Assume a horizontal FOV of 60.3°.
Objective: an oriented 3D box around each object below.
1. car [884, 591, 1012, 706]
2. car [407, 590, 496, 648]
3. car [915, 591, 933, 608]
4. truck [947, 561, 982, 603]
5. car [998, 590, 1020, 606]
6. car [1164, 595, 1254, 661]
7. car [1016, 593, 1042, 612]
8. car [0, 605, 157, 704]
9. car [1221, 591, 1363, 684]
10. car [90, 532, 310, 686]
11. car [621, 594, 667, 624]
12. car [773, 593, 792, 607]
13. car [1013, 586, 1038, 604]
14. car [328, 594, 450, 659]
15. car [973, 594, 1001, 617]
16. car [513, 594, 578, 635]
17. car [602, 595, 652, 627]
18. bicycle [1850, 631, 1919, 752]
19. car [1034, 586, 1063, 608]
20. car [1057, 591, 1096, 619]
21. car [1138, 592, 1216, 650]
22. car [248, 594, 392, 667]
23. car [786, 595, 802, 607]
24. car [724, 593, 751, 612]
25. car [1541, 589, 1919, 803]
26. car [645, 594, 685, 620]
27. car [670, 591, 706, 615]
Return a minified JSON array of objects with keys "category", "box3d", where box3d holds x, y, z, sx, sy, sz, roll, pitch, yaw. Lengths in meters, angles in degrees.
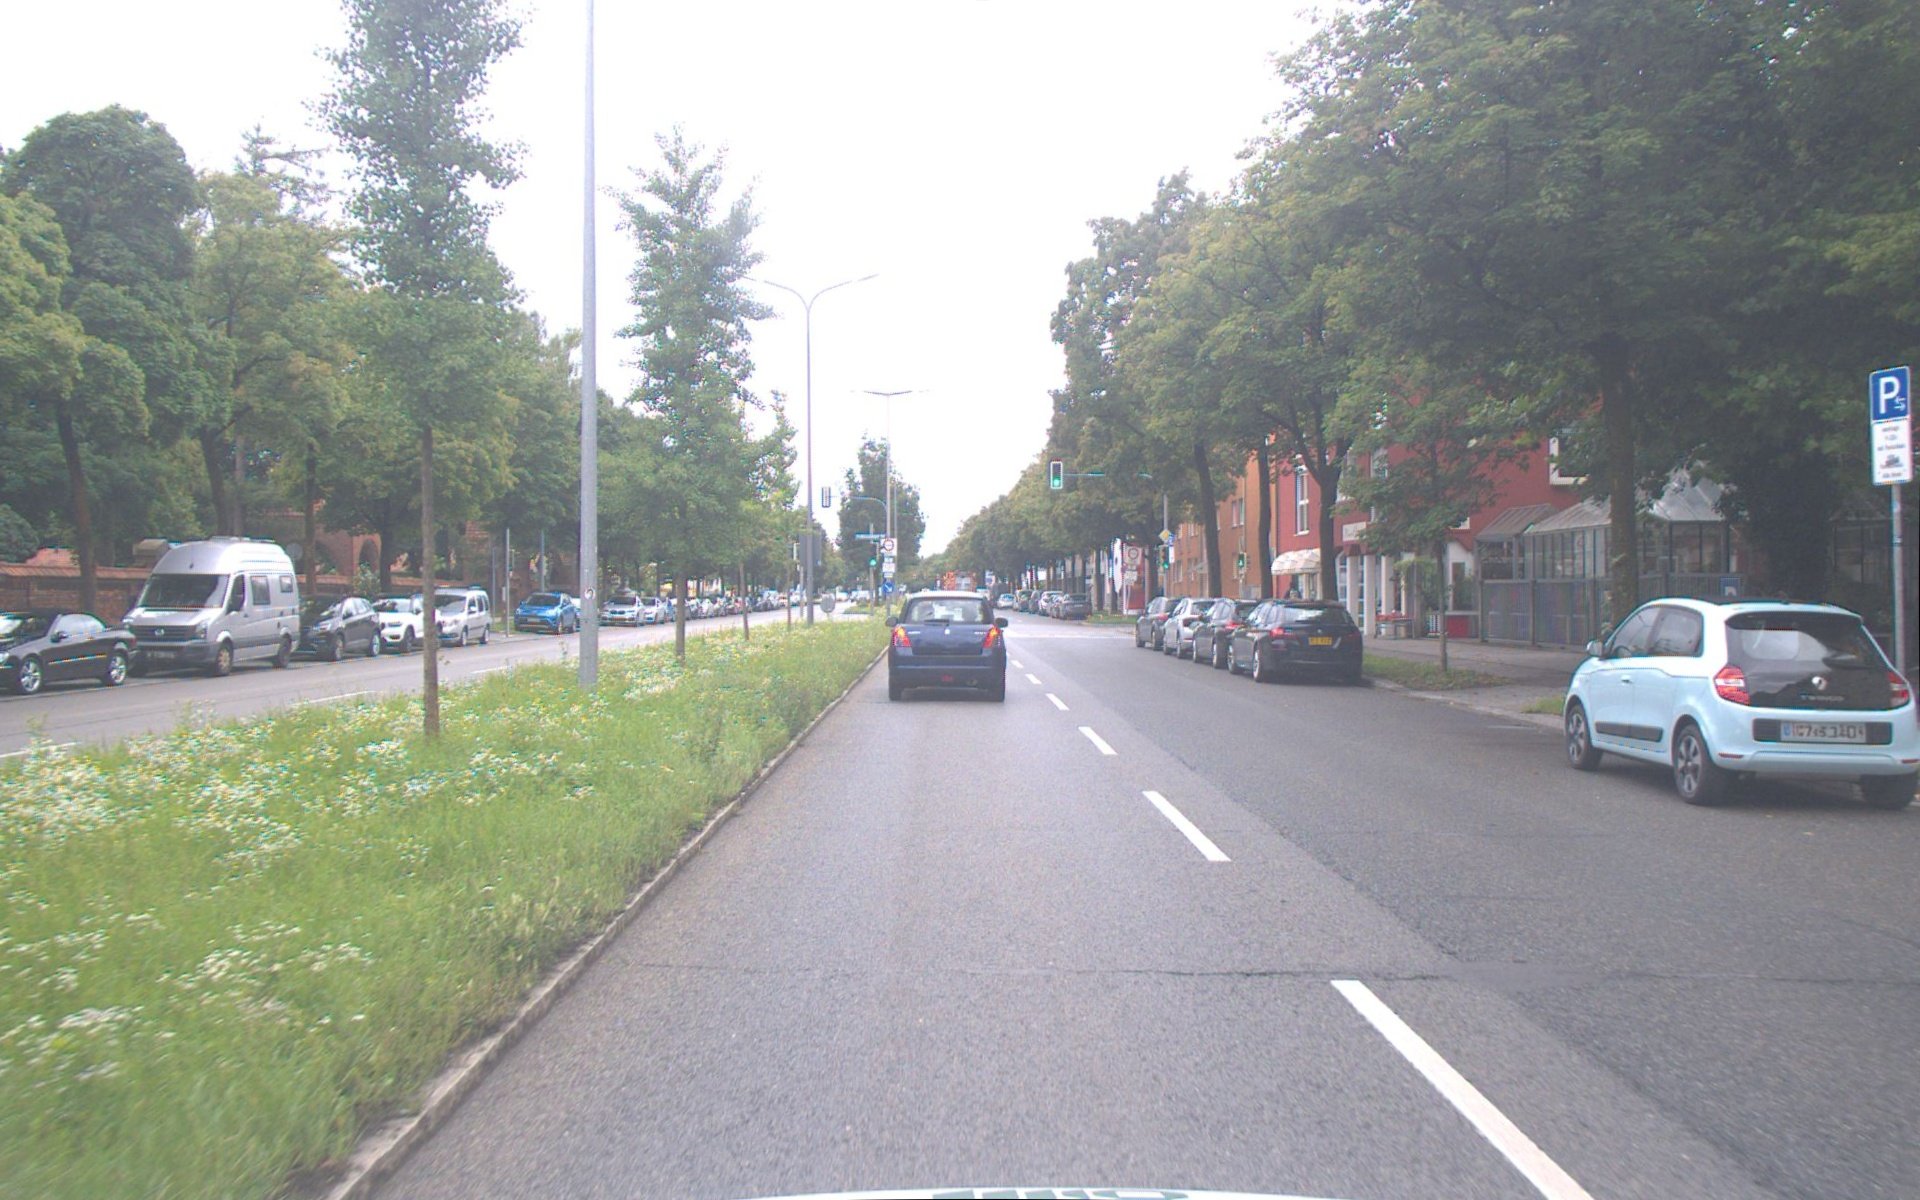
[{"category":"car","box3d":[-0.149,0.640,24.292,1.717,1.531,4.000,0,0,0]},{"category":"car","box3d":[-16.370,0.580,53.432,1.671,1.764,3.999,-1,0,-1]},{"category":"car","box3d":[-3.365,-0.040,156.465,1.683,1.527,4.300,0,0,-1]},{"category":"truck","box3d":[0.388,-1.603,147.308,2.979,3.619,13.674,0,0,0]},{"category":"car","box3d":[4.758,-0.213,161.200,1.953,1.557,3.999,-1,0,-1]},{"category":"car","box3d":[6.057,0.650,40.648,1.660,1.477,4.123,-1,0,1]},{"category":"car","box3d":[5.728,0.180,137.822,1.953,1.557,3.999,-1,0,-1]},{"category":"car","box3d":[-16.207,0.892,29.253,1.777,1.563,4.818,0,0,-2]},{"category":"car","box3d":[6.016,0.619,30.442,1.620,1.477,4.708,-2,1,0]},{"category":"car","box3d":[-16.153,0.159,35.606,2.142,3.005,6.188,0,0,-3]},{"category":"car","box3d":[-17.400,0.464,91.226,1.765,1.561,3.999,-1,0,-1]},{"category":"car","box3d":[-20.072,-0.021,186.671,1.765,1.561,3.999,0,0,-1]},{"category":"car","box3d":[5.606,-0.443,142.611,1.953,1.557,3.999,-1,0,-1]},{"category":"car","box3d":[-16.491,0.728,48.010,2.142,1.766,4.575,0,0,-3]},{"category":"car","box3d":[1.889,0.363,116.171,1.784,1.503,4.690,1,0,-1]},{"category":"car","box3d":[-16.890,0.571,67.504,1.671,1.561,3.999,-1,0,-1]},{"category":"car","box3d":[-17.017,0.521,84.657,1.765,1.561,3.999,-1,0,-1]},{"category":"bicycle","box3d":[8.298,0.782,14.095,0.439,0.997,1.798,0,0,-1]},{"category":"car","box3d":[6.683,-0.240,125.456,1.953,1.557,3.999,-1,0,-1]},{"category":"car","box3d":[6.768,0.260,96.630,1.953,1.557,3.999,-1,0,-1]},{"category":"car","box3d":[5.930,0.542,45.553,1.660,1.477,4.123,-1,0,1]},{"category":"car","box3d":[-16.449,0.733,42.755,2.142,1.766,4.575,0,0,-3]},{"category":"car","box3d":[-21.629,0.095,215.429,1.765,1.561,3.999,-1,0,-1]},{"category":"car","box3d":[-18.780,0.199,139.883,1.765,1.561,3.999,-1,0,-1]},{"category":"car","box3d":[6.361,0.683,13.924,1.619,1.477,4.001,-1,1,2]},{"category":"car","box3d":[-17.997,0.412,100.891,1.765,1.561,3.999,0,0,-1]},{"category":"car","box3d":[-17.786,0.184,108.295,1.765,1.561,3.999,-1,0,-1]}]
